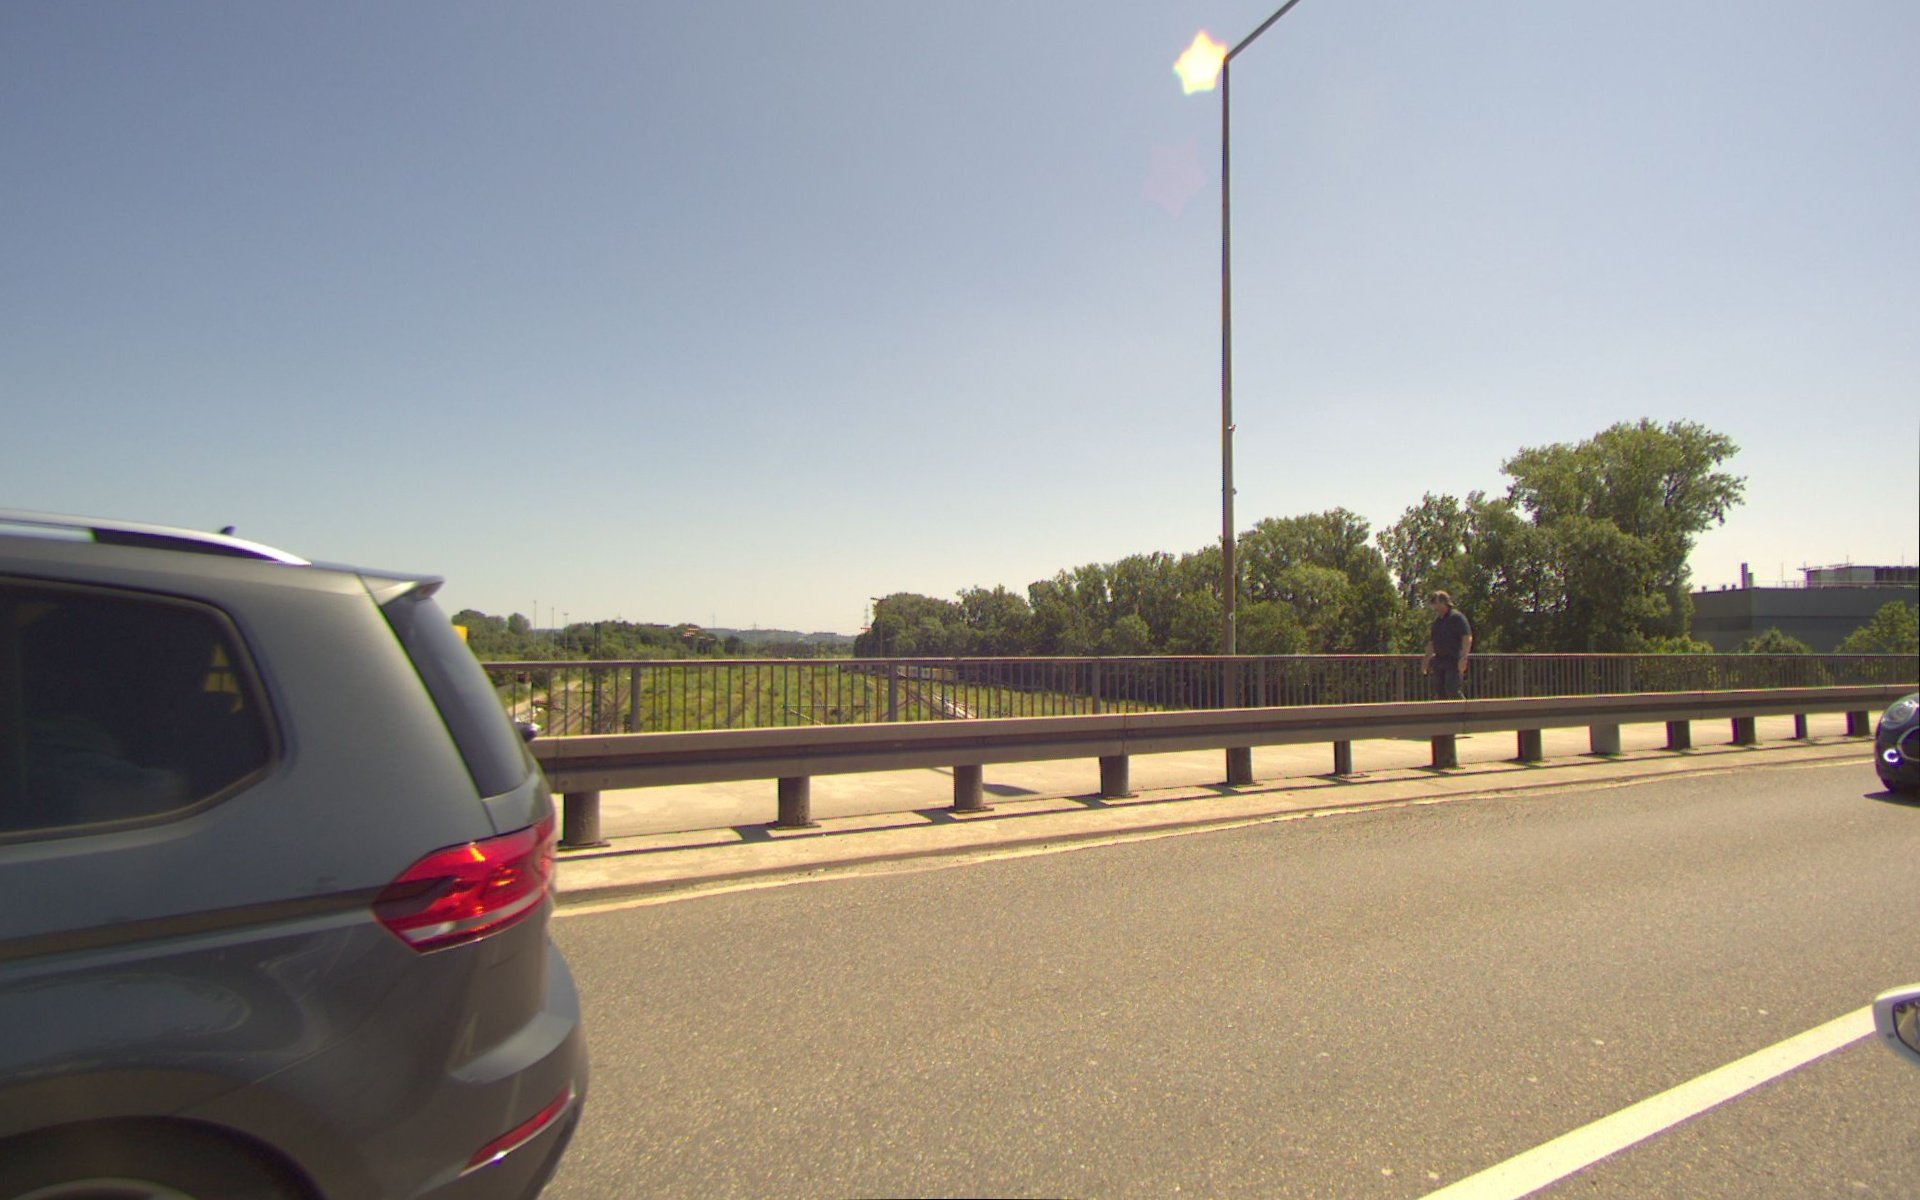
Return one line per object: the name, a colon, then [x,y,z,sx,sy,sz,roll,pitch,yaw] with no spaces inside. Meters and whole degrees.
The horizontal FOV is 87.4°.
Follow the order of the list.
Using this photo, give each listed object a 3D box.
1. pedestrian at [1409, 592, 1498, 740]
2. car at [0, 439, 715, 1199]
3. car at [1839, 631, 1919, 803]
pedestrian: [6.271,0.820,12.770,0.802,1.806,0.635,2,0,-29]
car: [-2.760,0.583,1.671,4.206,1.676,1.887,3,-2,-29]
car: [9.845,1.028,8.974,3.726,1.437,1.782,2,-3,-28]
